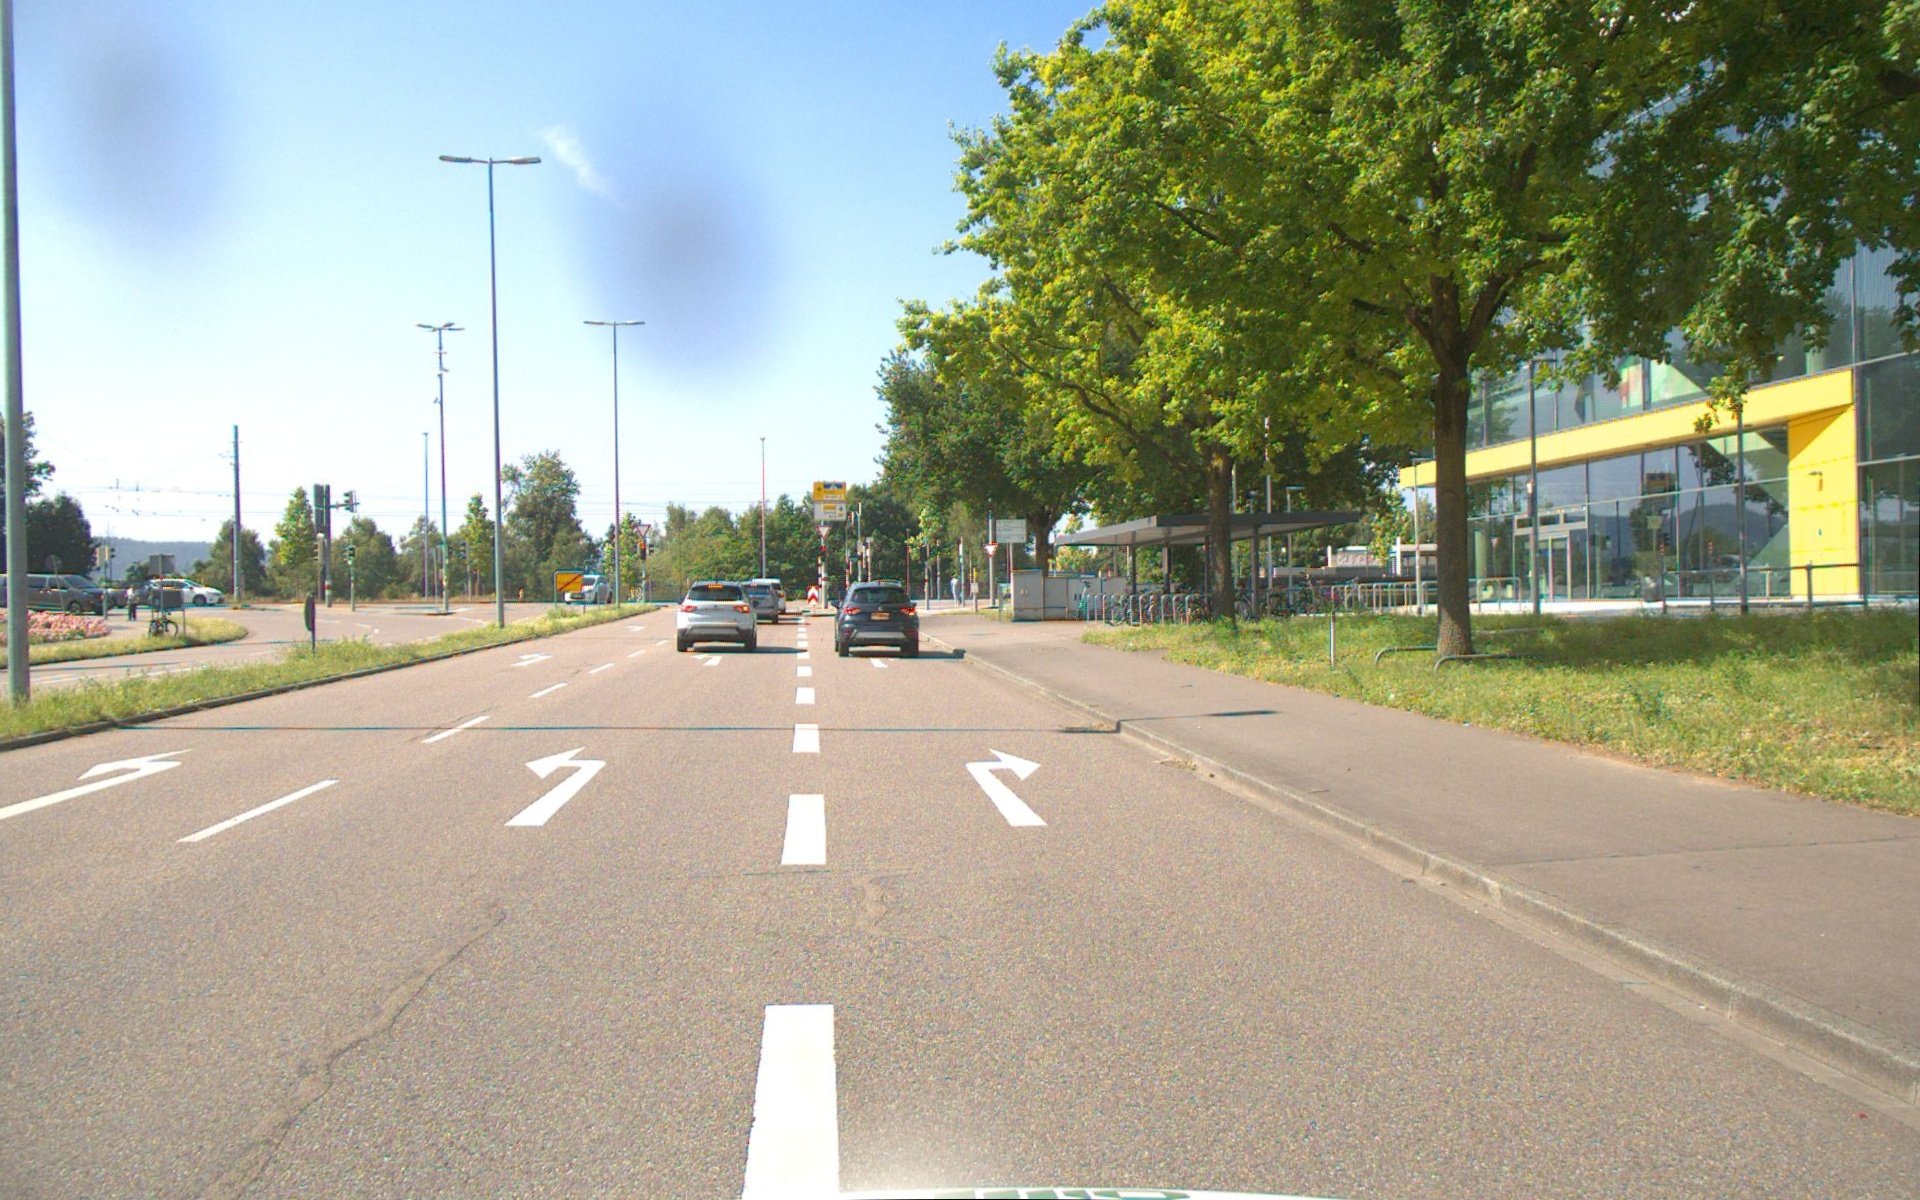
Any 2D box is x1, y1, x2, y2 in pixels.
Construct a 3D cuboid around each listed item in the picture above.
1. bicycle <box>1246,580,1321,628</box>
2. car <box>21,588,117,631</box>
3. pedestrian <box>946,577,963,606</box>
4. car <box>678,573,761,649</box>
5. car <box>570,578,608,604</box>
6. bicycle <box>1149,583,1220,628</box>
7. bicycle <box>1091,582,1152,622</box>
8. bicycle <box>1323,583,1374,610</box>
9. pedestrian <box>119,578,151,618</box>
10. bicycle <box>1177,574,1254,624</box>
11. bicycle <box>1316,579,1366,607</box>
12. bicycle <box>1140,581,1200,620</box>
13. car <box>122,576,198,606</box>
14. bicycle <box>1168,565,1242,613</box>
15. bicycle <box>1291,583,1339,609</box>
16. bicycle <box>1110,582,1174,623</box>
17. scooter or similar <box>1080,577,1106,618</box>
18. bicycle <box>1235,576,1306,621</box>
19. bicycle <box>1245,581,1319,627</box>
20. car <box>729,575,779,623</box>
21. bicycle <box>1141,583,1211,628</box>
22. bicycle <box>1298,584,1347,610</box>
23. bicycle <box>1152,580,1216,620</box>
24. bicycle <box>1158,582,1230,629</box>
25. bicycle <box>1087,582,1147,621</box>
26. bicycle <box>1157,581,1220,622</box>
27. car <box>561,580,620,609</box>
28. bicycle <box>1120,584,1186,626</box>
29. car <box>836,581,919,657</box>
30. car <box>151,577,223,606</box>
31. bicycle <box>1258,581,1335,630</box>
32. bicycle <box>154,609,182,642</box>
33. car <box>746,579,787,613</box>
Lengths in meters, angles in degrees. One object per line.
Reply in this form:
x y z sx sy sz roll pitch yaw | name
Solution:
7.950 0.100 40.662 1.724 1.115 0.451 -2 1 -6 | bicycle
-42.674 0.440 79.234 3.902 1.958 1.818 1 1 16 | car
-0.285 -0.448 89.129 0.756 1.537 1.008 -1 2 5 | pedestrian
-5.394 0.209 37.461 1.599 1.524 3.867 0 2 -5 | car
-15.225 -0.371 67.944 1.095 1.021 2.490 -1 1 -4 | car
5.775 0.133 42.509 1.724 1.115 0.451 -2 1 -6 | bicycle
4.756 0.048 48.822 1.724 1.115 0.451 -2 1 -6 | bicycle
12.424 -0.115 52.909 1.531 0.858 0.433 -1 1 -4 | bicycle
-35.896 -0.089 71.962 0.822 1.736 0.906 -2 1 6 | pedestrian
6.088 -0.026 39.435 1.724 1.115 0.451 -2 0 -6 | bicycle
12.380 -0.226 53.776 1.531 0.858 0.433 -1 1 -4 | bicycle
6.321 0.016 49.890 1.724 1.115 0.451 -2 1 -6 | bicycle
-42.149 -0.480 87.214 3.322 1.526 1.407 -1 -1 -8 | car
5.975 -0.278 40.362 1.724 1.115 0.463 -2 1 -6 | bicycle
12.069 -0.128 56.177 1.531 0.858 0.433 -1 1 -5 | bicycle
5.103 0.070 46.426 1.724 1.115 0.451 -2 1 -6 | bicycle
4.314 -0.077 53.805 0.762 1.287 0.283 -2 1 -9 | scooter or similar
8.032 -0.052 42.817 1.724 1.115 0.451 -2 1 -6 | bicycle
8.066 0.094 41.441 1.724 1.115 0.451 -2 1 -6 | bicycle
-7.392 -0.049 59.364 1.674 1.600 4.168 -2 1 -7 | car
5.621 0.127 43.053 1.724 1.115 0.451 -2 1 -6 | bicycle
12.132 -0.103 55.329 1.530 0.858 0.433 -1 0 -4 | bicycle
6.614 0.001 48.891 1.793 1.115 0.451 -2 1 -6 | bicycle
5.877 0.130 41.600 1.724 1.115 0.451 -2 1 -6 | bicycle
4.728 0.051 49.824 1.724 1.115 0.451 -2 1 -6 | bicycle
6.604 0.044 47.751 1.724 1.115 0.451 -2 1 -6 | bicycle
-21.051 -0.309 94.302 1.755 1.574 4.090 -1 0 11 | car
5.264 0.132 45.144 1.724 1.115 0.451 -2 1 -6 | bicycle
-1.815 0.377 35.556 1.637 1.550 3.373 0 0 -6 | car
-42.304 -0.456 90.586 3.282 1.526 1.406 -1 -1 -10 | car
8.062 0.131 39.653 1.724 1.115 0.451 -2 1 -6 | bicycle
-26.016 0.846 54.348 0.324 1.040 1.640 -2 -1 -9 | bicycle
-8.682 -0.183 74.356 1.708 1.473 4.384 0 1 -5 | car
